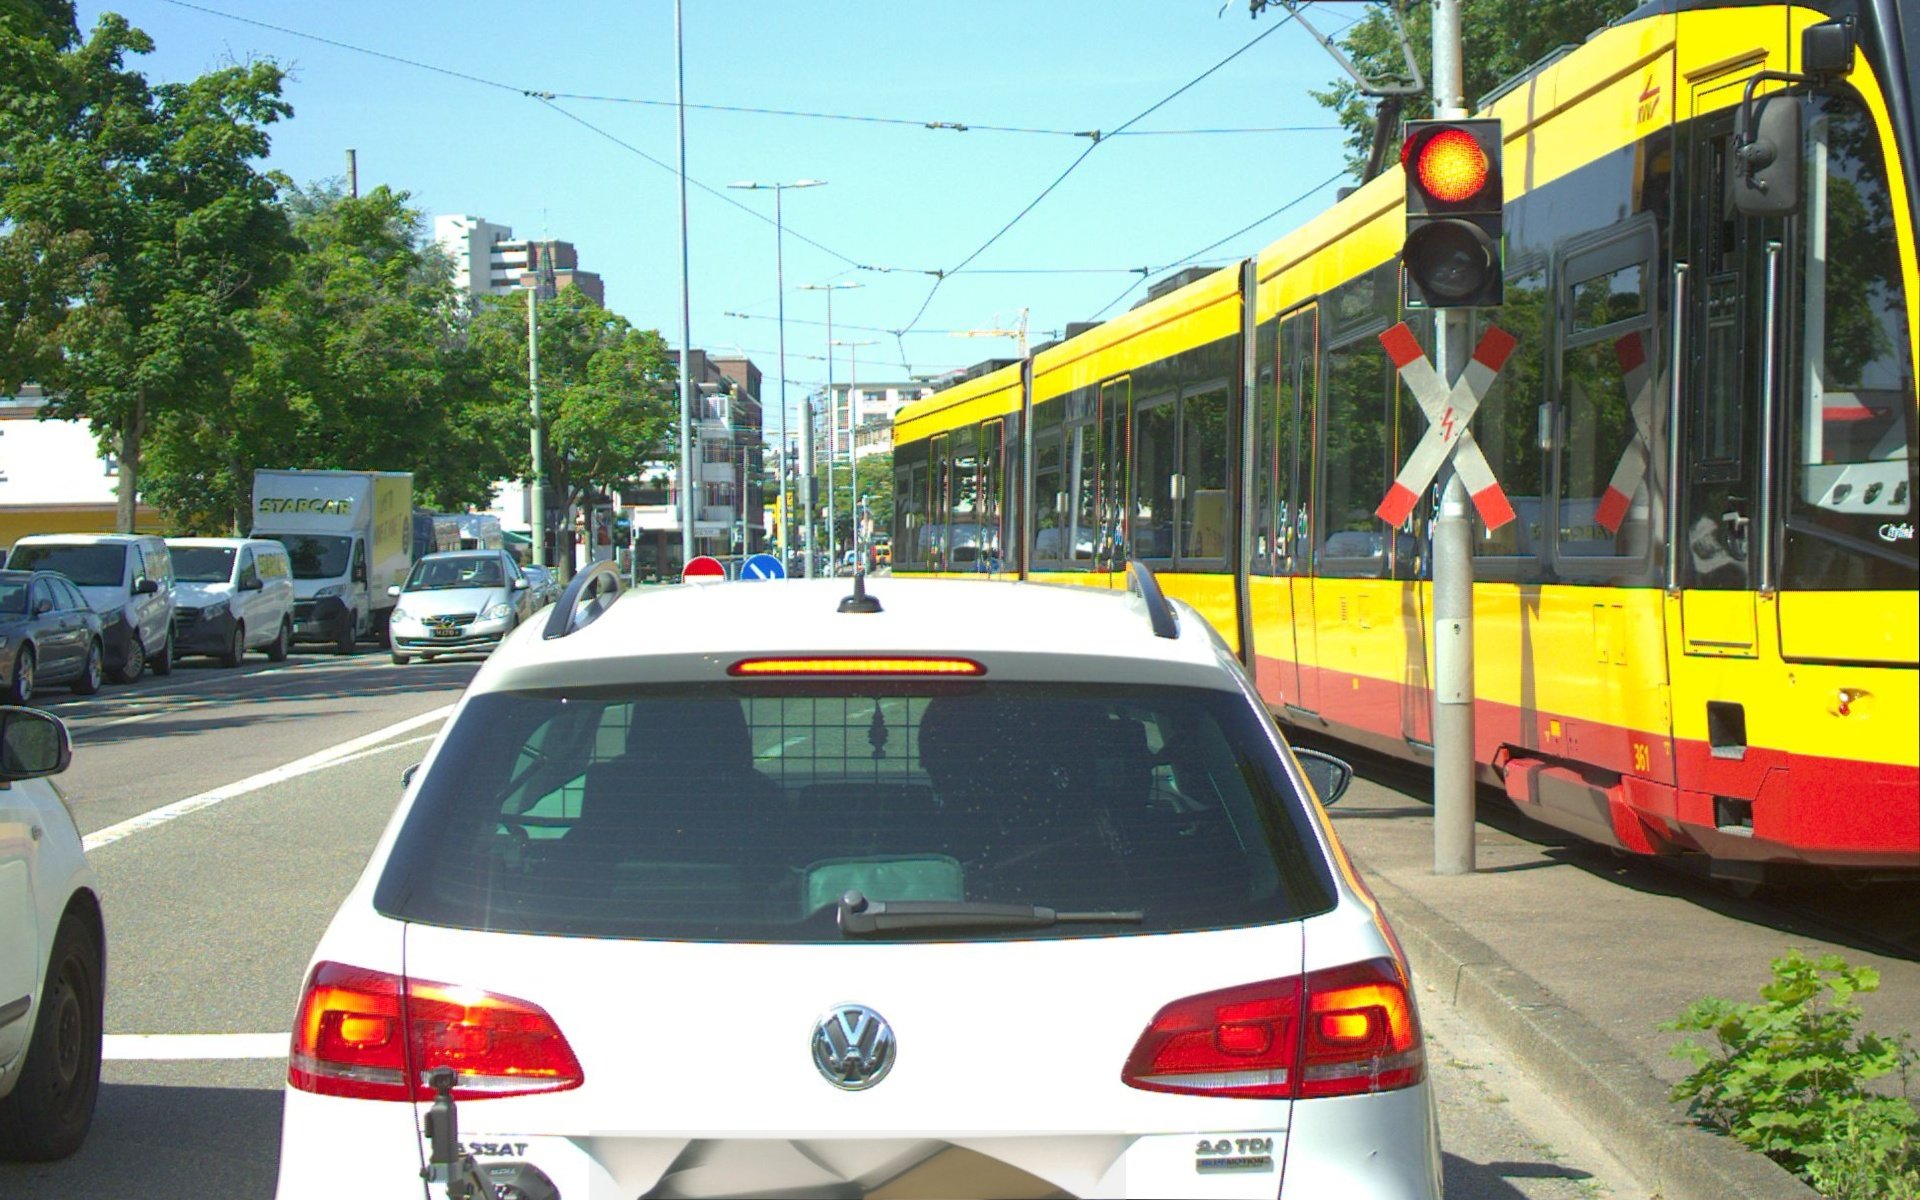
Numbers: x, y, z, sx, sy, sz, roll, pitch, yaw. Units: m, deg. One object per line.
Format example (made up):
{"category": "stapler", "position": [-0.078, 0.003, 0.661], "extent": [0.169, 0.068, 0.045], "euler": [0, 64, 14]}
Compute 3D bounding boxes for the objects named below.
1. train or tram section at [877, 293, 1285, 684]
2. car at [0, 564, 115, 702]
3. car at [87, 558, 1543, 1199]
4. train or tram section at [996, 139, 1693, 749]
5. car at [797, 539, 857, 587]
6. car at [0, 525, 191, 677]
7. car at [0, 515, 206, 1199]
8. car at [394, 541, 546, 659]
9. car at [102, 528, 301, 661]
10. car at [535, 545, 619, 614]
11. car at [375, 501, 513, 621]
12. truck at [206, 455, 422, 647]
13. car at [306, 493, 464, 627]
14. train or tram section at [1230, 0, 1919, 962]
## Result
{"category": "train or tram section", "position": [1.098, -1.212, 39.589], "extent": [2.870, 3.842, 10.541], "euler": [-1, 1, -8]}
{"category": "car", "position": [-10.948, 0.327, 38.688], "extent": [1.863, 1.411, 4.280], "euler": [1, 1, -1]}
{"category": "car", "position": [-0.189, 0.672, 6.212], "extent": [1.762, 1.425, 4.000], "euler": [-1, 1, -1]}
{"category": "train or tram section", "position": [2.544, -1.114, 28.162], "extent": [2.870, 3.842, 12.394], "euler": [-1, 1, -7]}
{"category": "car", "position": [-4.336, -1.227, 112.584], "extent": [1.705, 1.468, 4.589], "euler": [-2, 1, 1]}
{"category": "car", "position": [-11.408, -0.032, 45.333], "extent": [1.863, 1.861, 5.075], "euler": [1, 1, -6]}
{"category": "car", "position": [-2.959, 0.589, 7.353], "extent": [1.662, 1.542, 4.547], "euler": [0, 1, 0]}
{"category": "car", "position": [-7.010, -0.028, 49.449], "extent": [1.676, 1.548, 3.580], "euler": [-3, 1, -1]}
{"category": "car", "position": [-11.373, -0.128, 51.916], "extent": [1.863, 1.861, 5.414], "euler": [1, 1, -1]}
{"category": "car", "position": [-10.945, -0.610, 98.616], "extent": [1.863, 1.861, 5.414], "euler": [1, 1, -1]}
{"category": "car", "position": [-11.312, -0.887, 75.768], "extent": [2.123, 2.508, 5.733], "euler": [1, 1, 0]}
{"category": "truck", "position": [-11.225, -0.873, 60.330], "extent": [2.421, 3.139, 6.997], "euler": [1, 1, 0]}
{"category": "car", "position": [-11.361, -0.815, 68.332], "extent": [2.123, 2.508, 5.733], "euler": [1, 1, 0]}
{"category": "train or tram section", "position": [3.591, -1.063, 15.778], "extent": [2.870, 3.842, 12.393], "euler": [-1, 1, -4]}
